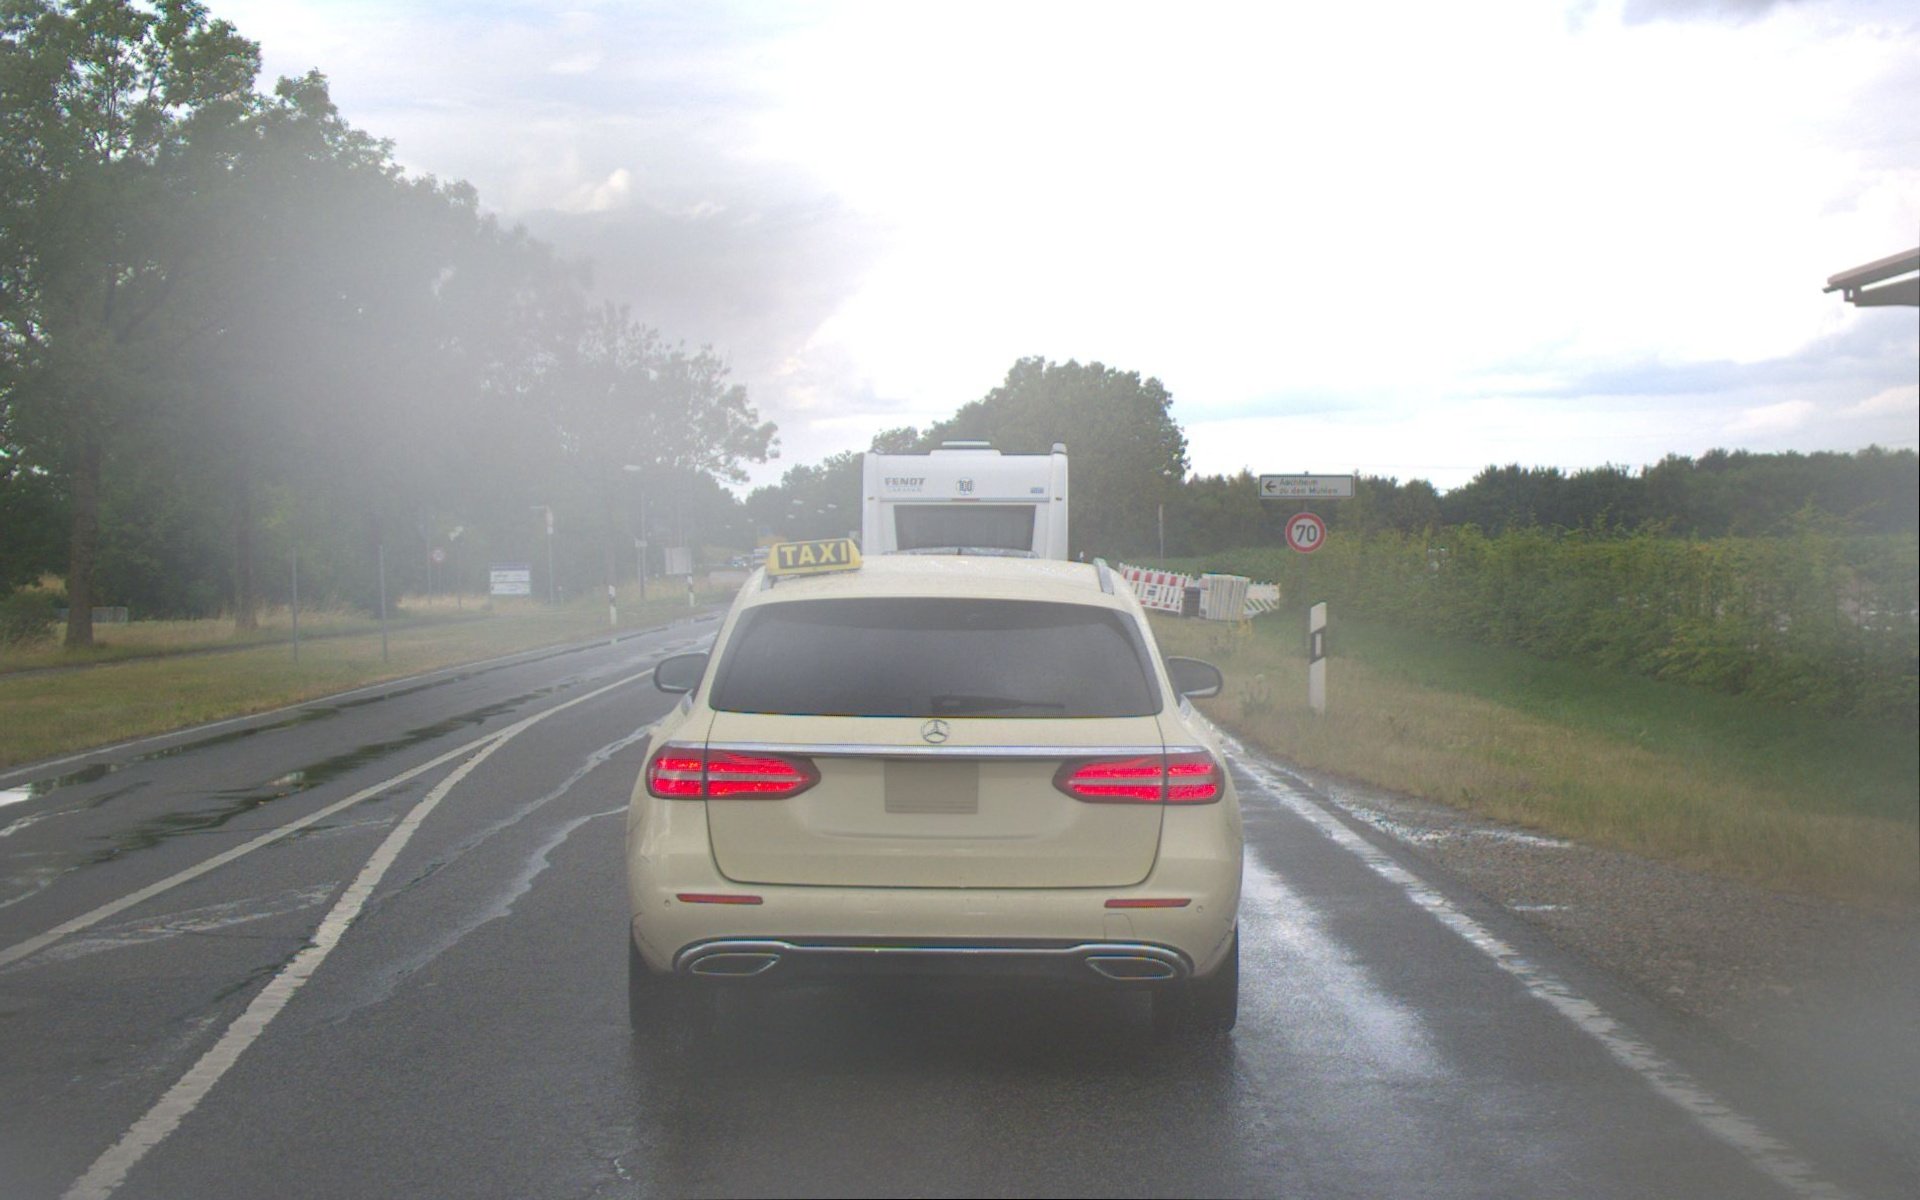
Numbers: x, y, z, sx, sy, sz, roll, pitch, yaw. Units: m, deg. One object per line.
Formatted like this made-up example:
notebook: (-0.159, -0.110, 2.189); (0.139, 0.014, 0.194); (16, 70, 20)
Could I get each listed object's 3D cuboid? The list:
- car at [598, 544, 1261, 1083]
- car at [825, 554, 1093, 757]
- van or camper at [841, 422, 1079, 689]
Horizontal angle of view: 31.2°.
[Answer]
car: (-0.074, 0.546, 11.339); (1.797, 1.459, 4.031); (0, 1, 0)
car: (-0.022, 0.367, 26.299); (1.894, 1.424, 3.928); (0, 1, 0)
van or camper: (0.040, -0.521, 40.304); (2.497, 2.821, 5.934); (-2, 1, 1)
